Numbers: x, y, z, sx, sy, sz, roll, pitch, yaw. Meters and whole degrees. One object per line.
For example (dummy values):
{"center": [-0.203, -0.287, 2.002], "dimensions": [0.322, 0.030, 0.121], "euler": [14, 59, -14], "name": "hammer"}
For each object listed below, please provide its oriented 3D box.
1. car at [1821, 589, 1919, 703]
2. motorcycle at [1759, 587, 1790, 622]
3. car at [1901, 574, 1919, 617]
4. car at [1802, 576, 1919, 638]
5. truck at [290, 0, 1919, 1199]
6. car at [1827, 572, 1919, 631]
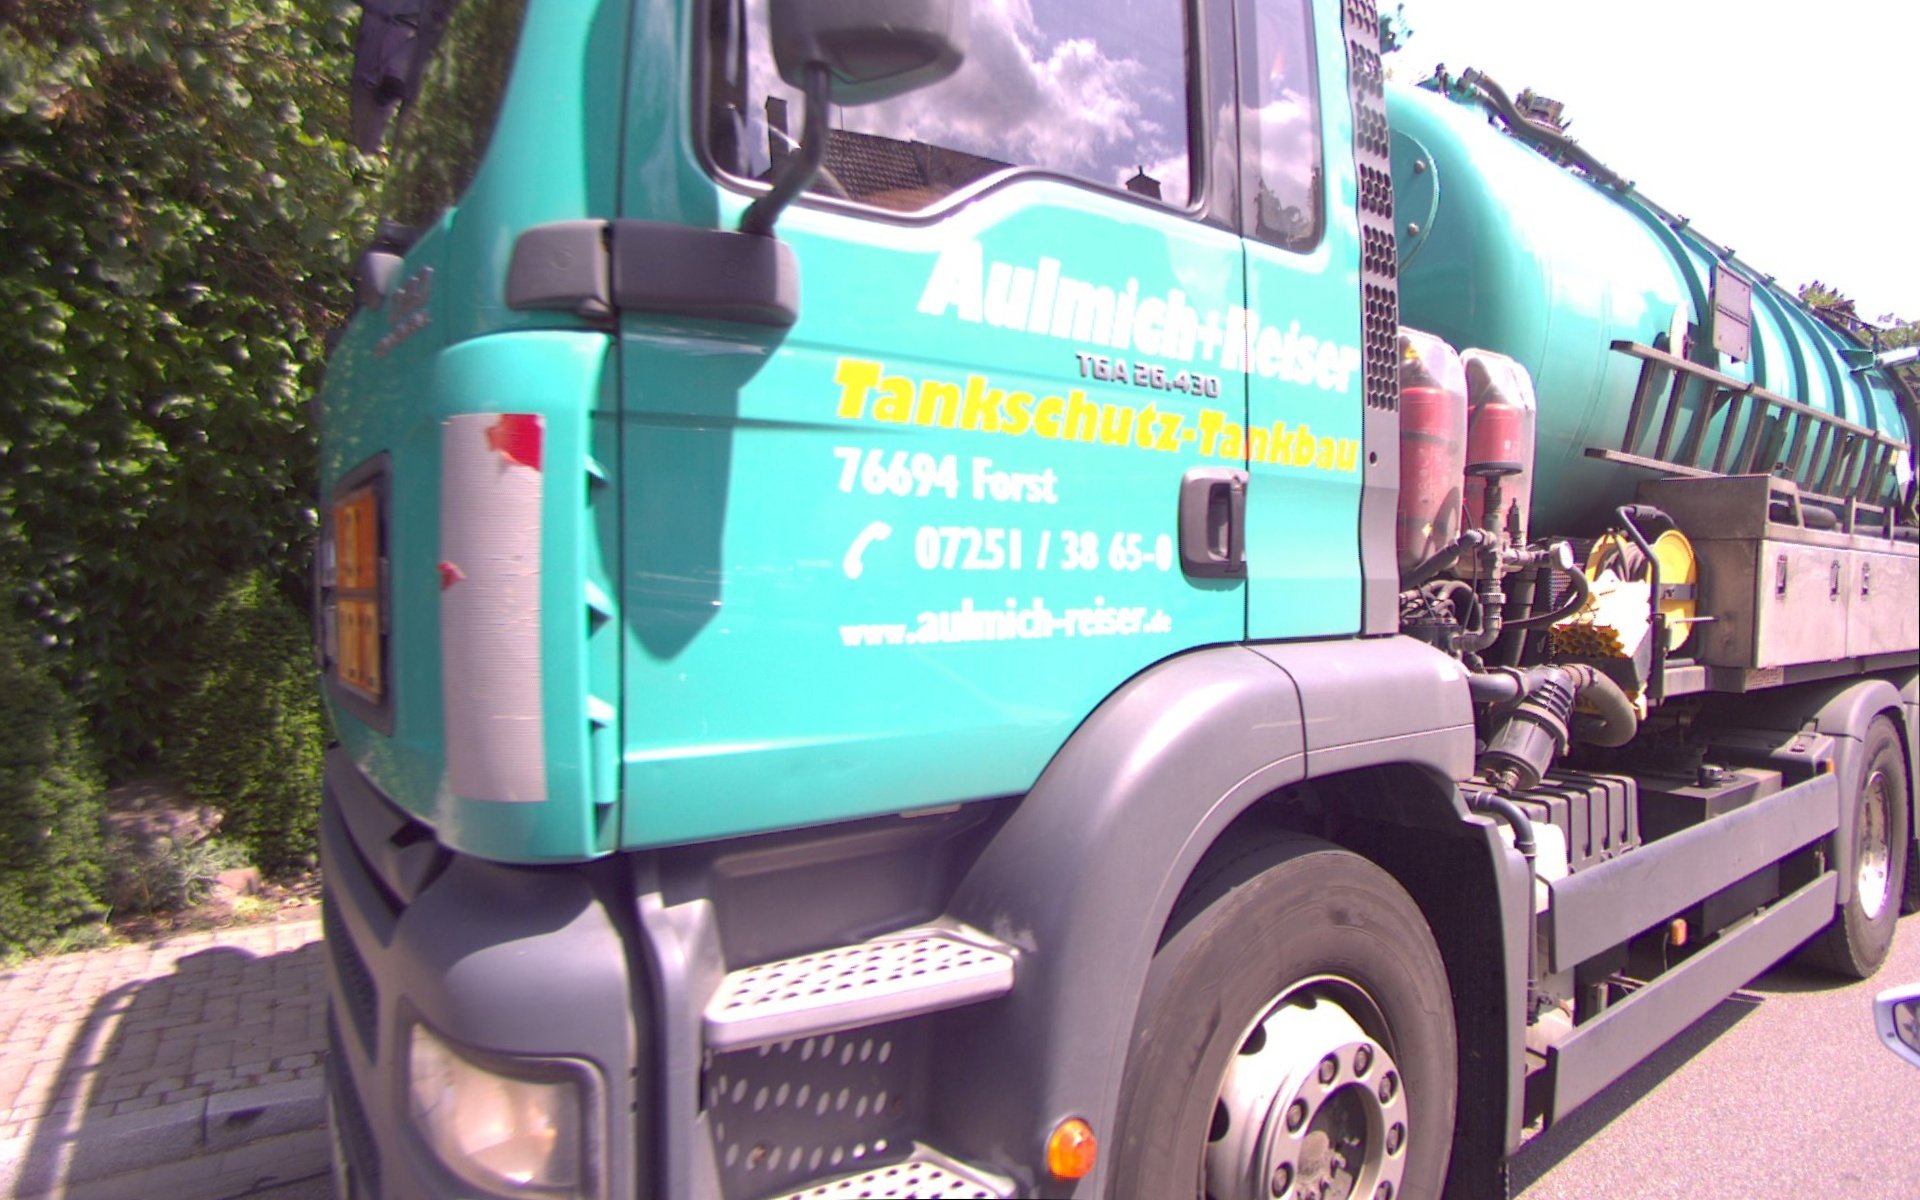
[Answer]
{"center": [14.756, 0.616, 15.391], "dimensions": [4.581, 1.520, 1.877], "euler": [-1, 2, -43], "name": "car"}
{"center": [25.035, 0.122, 30.863], "dimensions": [1.845, 1.014, 0.413], "euler": [-1, 7, -44], "name": "motorcycle"}
{"center": [36.056, -0.201, 36.859], "dimensions": [3.823, 1.550, 1.703], "euler": [-1, 2, -39], "name": "car"}
{"center": [24.393, 0.135, 27.161], "dimensions": [4.513, 1.485, 1.938], "euler": [-1, 3, -43], "name": "car"}
{"center": [2.624, -0.394, 4.685], "dimensions": [9.478, 3.707, 2.394], "euler": [0, -1, -37], "name": "truck"}
{"center": [27.950, -0.013, 30.372], "dimensions": [4.630, 1.484, 1.868], "euler": [-3, 6, -41], "name": "car"}
